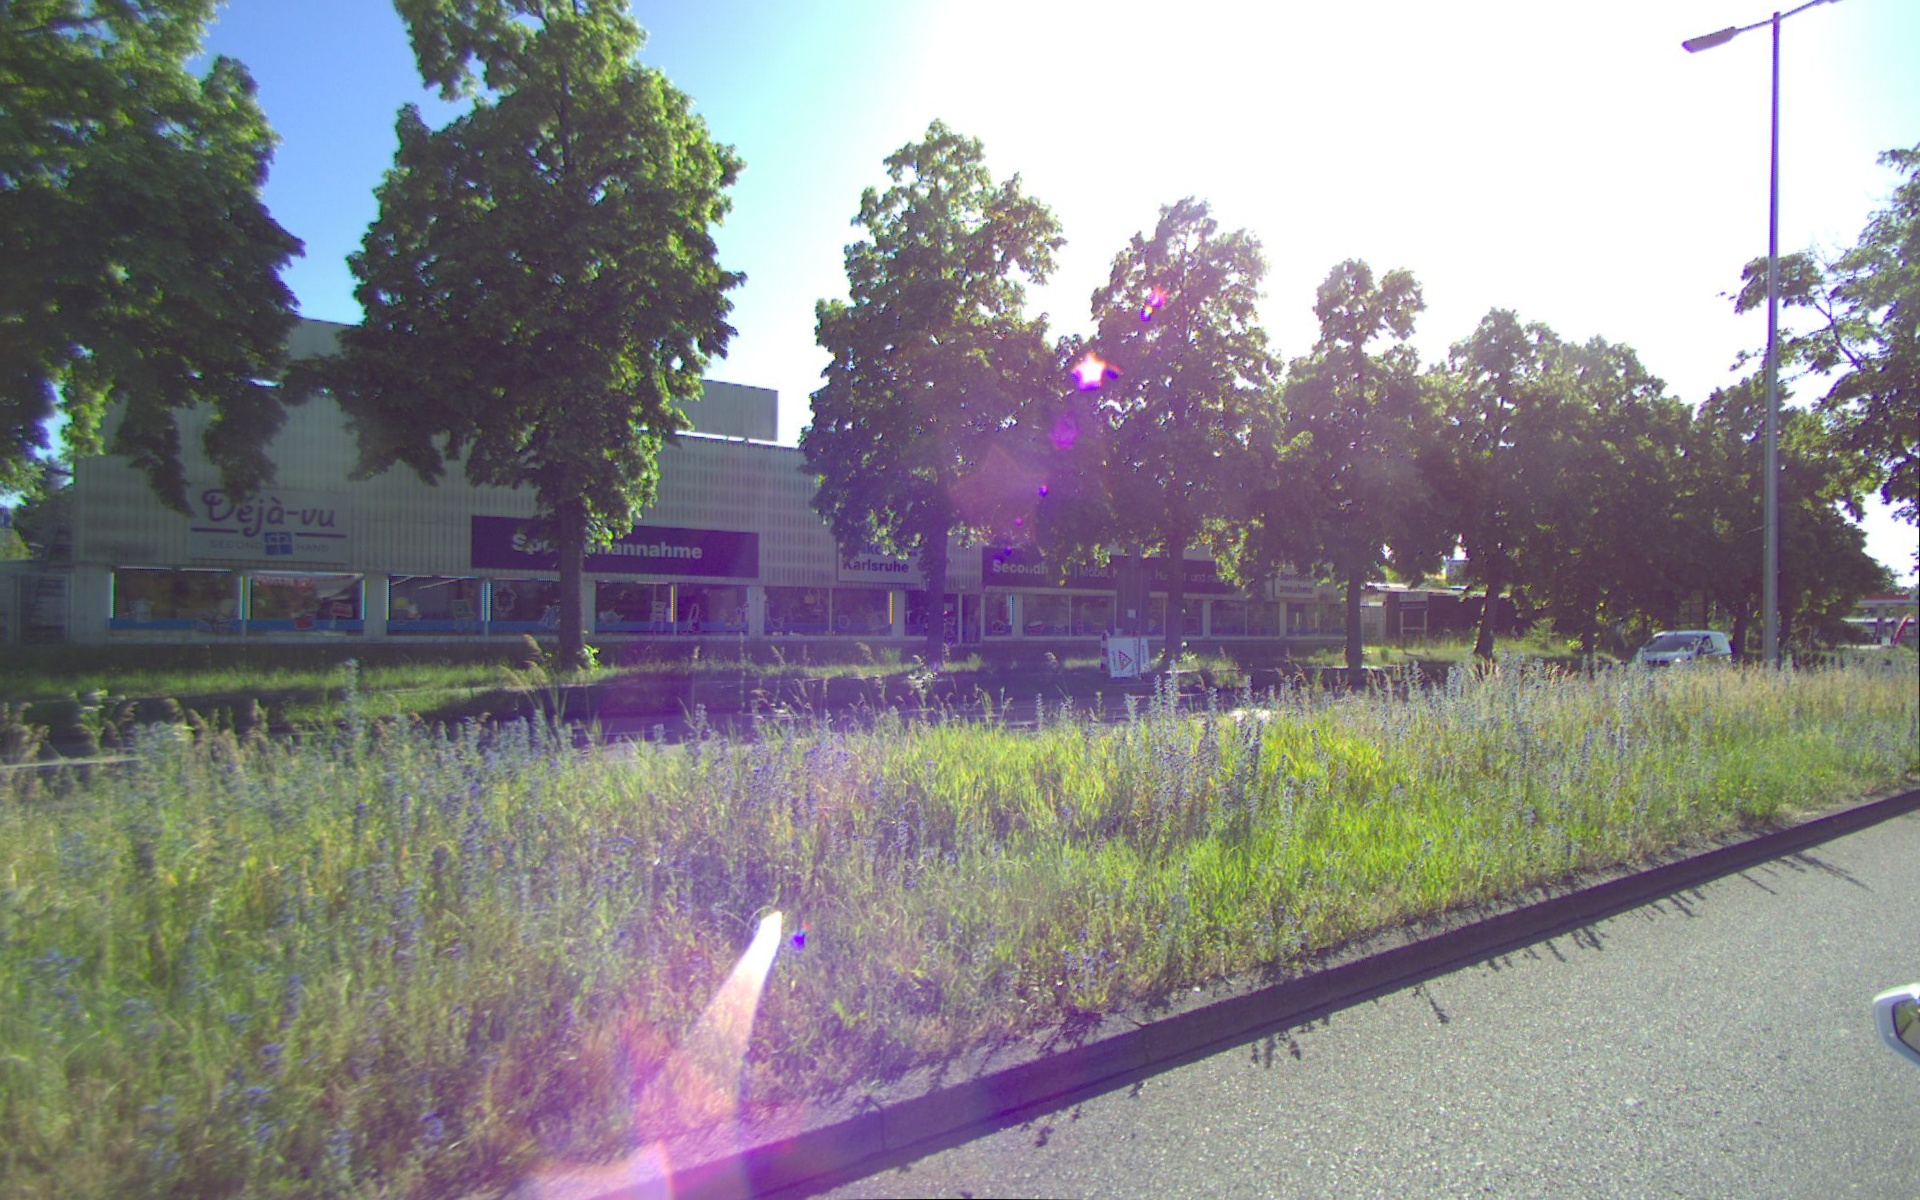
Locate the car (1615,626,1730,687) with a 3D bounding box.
[{"bbox_3d":[22.182,1.718,31.239,4.125,1.769,1.695,2,-1,-36],"label":"car"}]
